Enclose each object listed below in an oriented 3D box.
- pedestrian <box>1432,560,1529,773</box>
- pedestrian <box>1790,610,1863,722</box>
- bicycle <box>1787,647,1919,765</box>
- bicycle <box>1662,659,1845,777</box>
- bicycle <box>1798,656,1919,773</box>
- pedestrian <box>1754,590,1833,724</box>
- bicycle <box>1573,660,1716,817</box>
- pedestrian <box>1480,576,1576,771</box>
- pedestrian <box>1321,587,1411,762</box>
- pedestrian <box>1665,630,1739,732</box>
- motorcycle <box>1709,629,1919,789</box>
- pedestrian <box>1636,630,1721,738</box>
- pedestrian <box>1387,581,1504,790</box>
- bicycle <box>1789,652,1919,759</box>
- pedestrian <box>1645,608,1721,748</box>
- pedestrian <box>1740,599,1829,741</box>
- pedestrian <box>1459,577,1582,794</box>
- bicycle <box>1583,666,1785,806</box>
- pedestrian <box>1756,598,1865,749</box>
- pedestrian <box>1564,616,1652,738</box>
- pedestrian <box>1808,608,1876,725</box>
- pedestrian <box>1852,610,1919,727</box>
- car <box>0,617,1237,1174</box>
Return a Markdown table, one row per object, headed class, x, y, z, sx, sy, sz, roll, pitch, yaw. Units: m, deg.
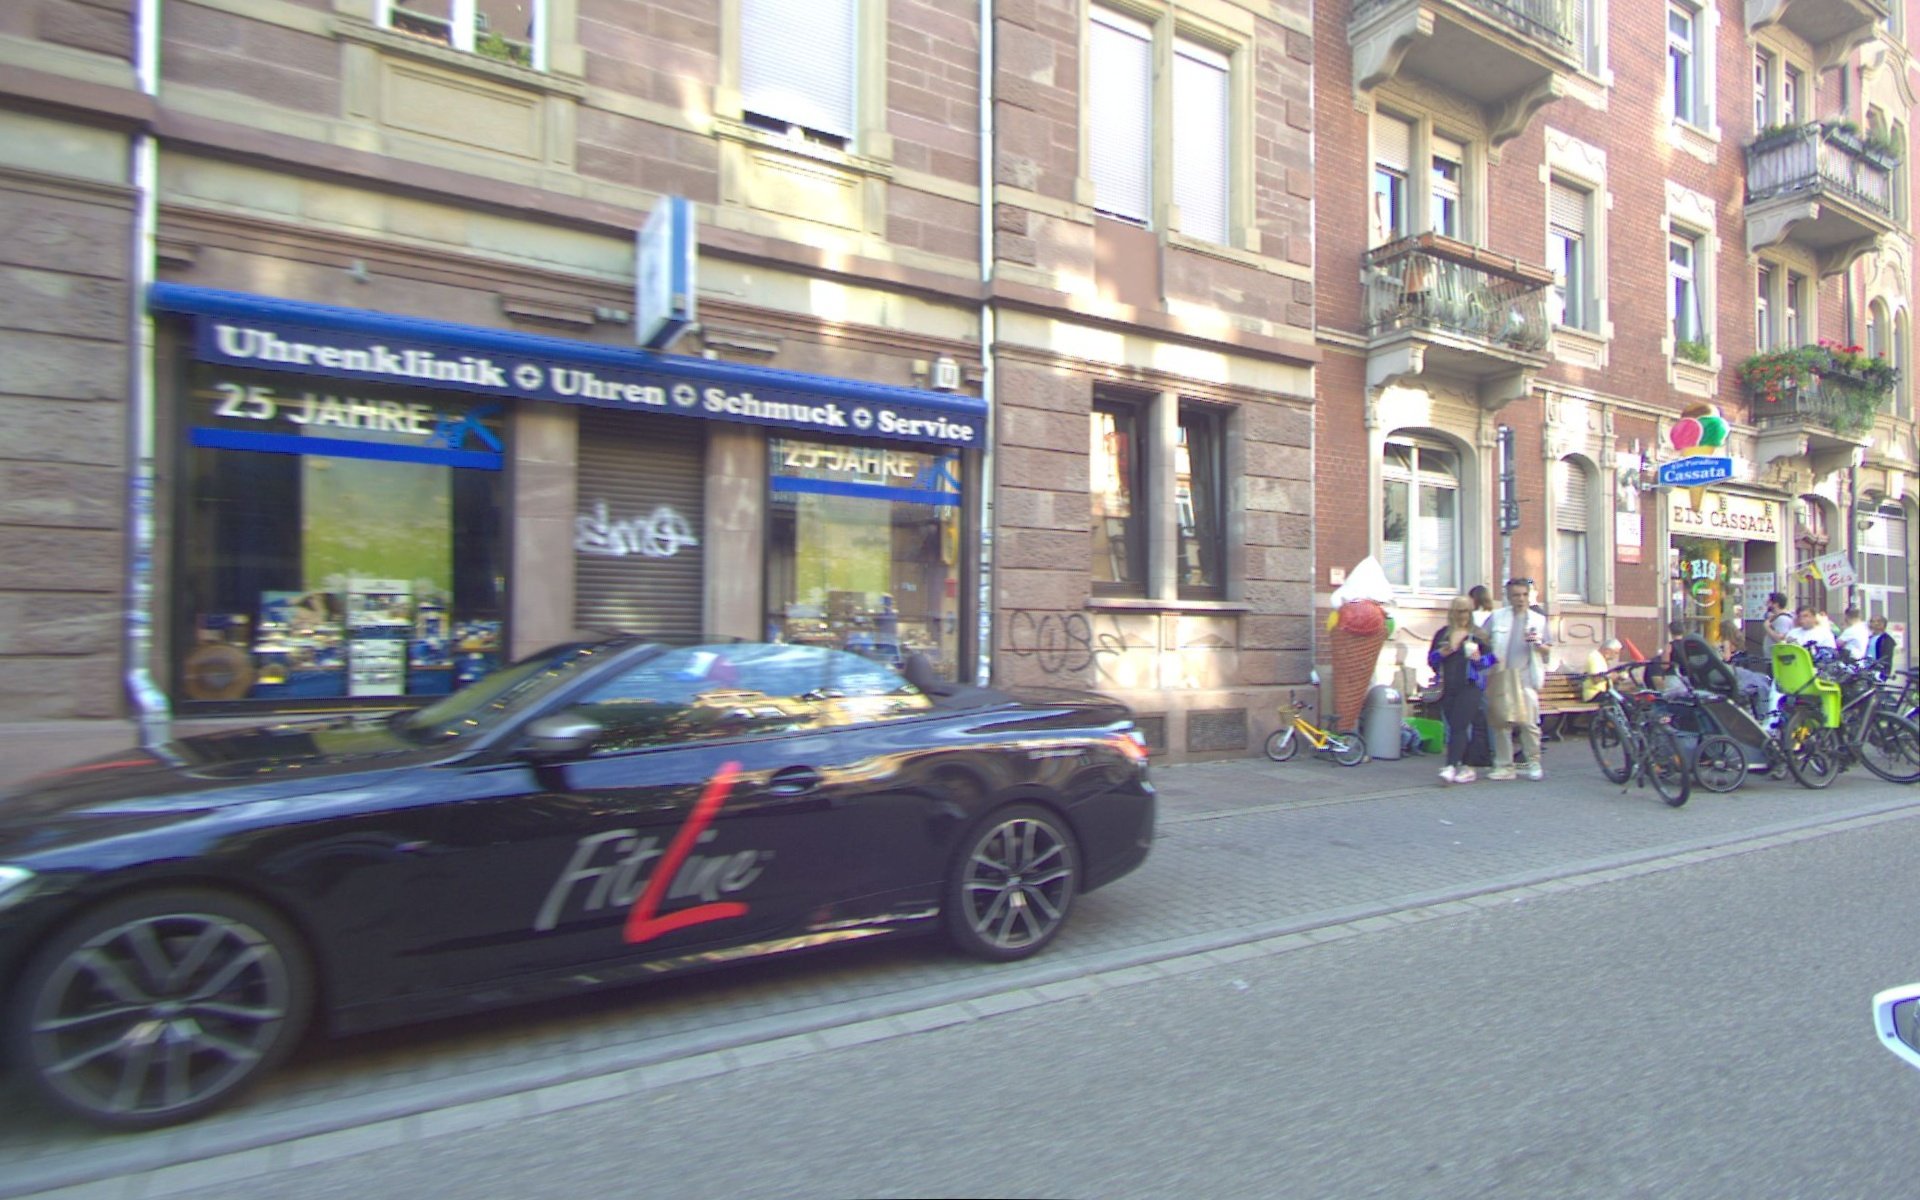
| class | x | y | z | sx | sy | sz | roll | pitch | yaw |
| --- | --- | --- | --- | --- | --- | --- | --- | --- | --- |
| pedestrian | 5.166 | 0.649 | 9.996 | 0.617 | 2.040 | 0.645 | 1 | -1 | -1 |
| pedestrian | 13.757 | 1.027 | 15.951 | 0.754 | 1.718 | 0.660 | 1 | 0 | -29 |
| bicycle | 10.257 | 1.154 | 10.984 | 1.757 | 1.216 | 0.590 | 1 | 0 | 25 |
| bicycle | 8.082 | 1.174 | 10.232 | 1.710 | 1.105 | 0.578 | 1 | 0 | -17 |
| bicycle | 9.833 | 1.193 | 10.489 | 1.541 | 1.135 | 0.590 | 1 | 0 | 25 |
| pedestrian | 12.066 | 0.799 | 14.564 | 0.750 | 1.878 | 0.664 | 1 | 0 | 30 |
| bicycle | 5.781 | 1.117 | 8.566 | 0.366 | 1.132 | 1.583 | 1 | -1 | 9 |
| pedestrian | 5.792 | 0.731 | 10.267 | 0.589 | 1.917 | 0.648 | 1 | 0 | 1 |
| pedestrian | 4.281 | 0.763 | 10.629 | 0.652 | 1.783 | 0.690 | 1 | 0 | 1 |
| pedestrian | 10.189 | 1.093 | 13.802 | 0.435 | 1.331 | 0.713 | 1 | -1 | -33 |
| motorcycle | 8.224 | 0.997 | 9.525 | 1.990 | 1.403 | 0.707 | 1 | 0 | -15 |
| pedestrian | 9.284 | 1.063 | 12.992 | 0.600 | 1.331 | 0.719 | 1 | -1 | -33 |
| pedestrian | 4.314 | 0.735 | 8.977 | 0.652 | 1.783 | 0.763 | 1 | 0 | 1 |
| bicycle | 10.648 | 1.205 | 11.479 | 1.705 | 1.135 | 0.555 | 1 | 0 | 25 |
| pedestrian | 8.761 | 0.928 | 12.176 | 0.577 | 1.638 | 0.551 | 1 | 0 | -29 |
| pedestrian | 10.640 | 0.884 | 12.971 | 0.714 | 1.775 | 0.604 | 1 | 0 | -19 |
| pedestrian | 4.987 | 0.732 | 8.974 | 0.652 | 1.843 | 0.763 | 1 | 0 | 1 |
| bicycle | 6.440 | 1.163 | 9.042 | 0.402 | 1.044 | 1.684 | 1 | -1 | -9 |
| pedestrian | 10.380 | 0.875 | 12.267 | 0.930 | 1.775 | 0.604 | 1 | 0 | -17 |
| pedestrian | 8.132 | 0.947 | 12.613 | 0.714 | 1.489 | 0.604 | 1 | 0 | -19 |
| pedestrian | 13.333 | 0.981 | 15.203 | 0.654 | 1.718 | 0.585 | 1 | 0 | 30 |
| pedestrian | 13.948 | 1.010 | 15.141 | 0.554 | 1.718 | 0.647 | 1 | 0 | 22 |
| car | -1.320 | 0.795 | 4.206 | 5.056 | 1.369 | 1.803 | 2 | -1 | -31 |
